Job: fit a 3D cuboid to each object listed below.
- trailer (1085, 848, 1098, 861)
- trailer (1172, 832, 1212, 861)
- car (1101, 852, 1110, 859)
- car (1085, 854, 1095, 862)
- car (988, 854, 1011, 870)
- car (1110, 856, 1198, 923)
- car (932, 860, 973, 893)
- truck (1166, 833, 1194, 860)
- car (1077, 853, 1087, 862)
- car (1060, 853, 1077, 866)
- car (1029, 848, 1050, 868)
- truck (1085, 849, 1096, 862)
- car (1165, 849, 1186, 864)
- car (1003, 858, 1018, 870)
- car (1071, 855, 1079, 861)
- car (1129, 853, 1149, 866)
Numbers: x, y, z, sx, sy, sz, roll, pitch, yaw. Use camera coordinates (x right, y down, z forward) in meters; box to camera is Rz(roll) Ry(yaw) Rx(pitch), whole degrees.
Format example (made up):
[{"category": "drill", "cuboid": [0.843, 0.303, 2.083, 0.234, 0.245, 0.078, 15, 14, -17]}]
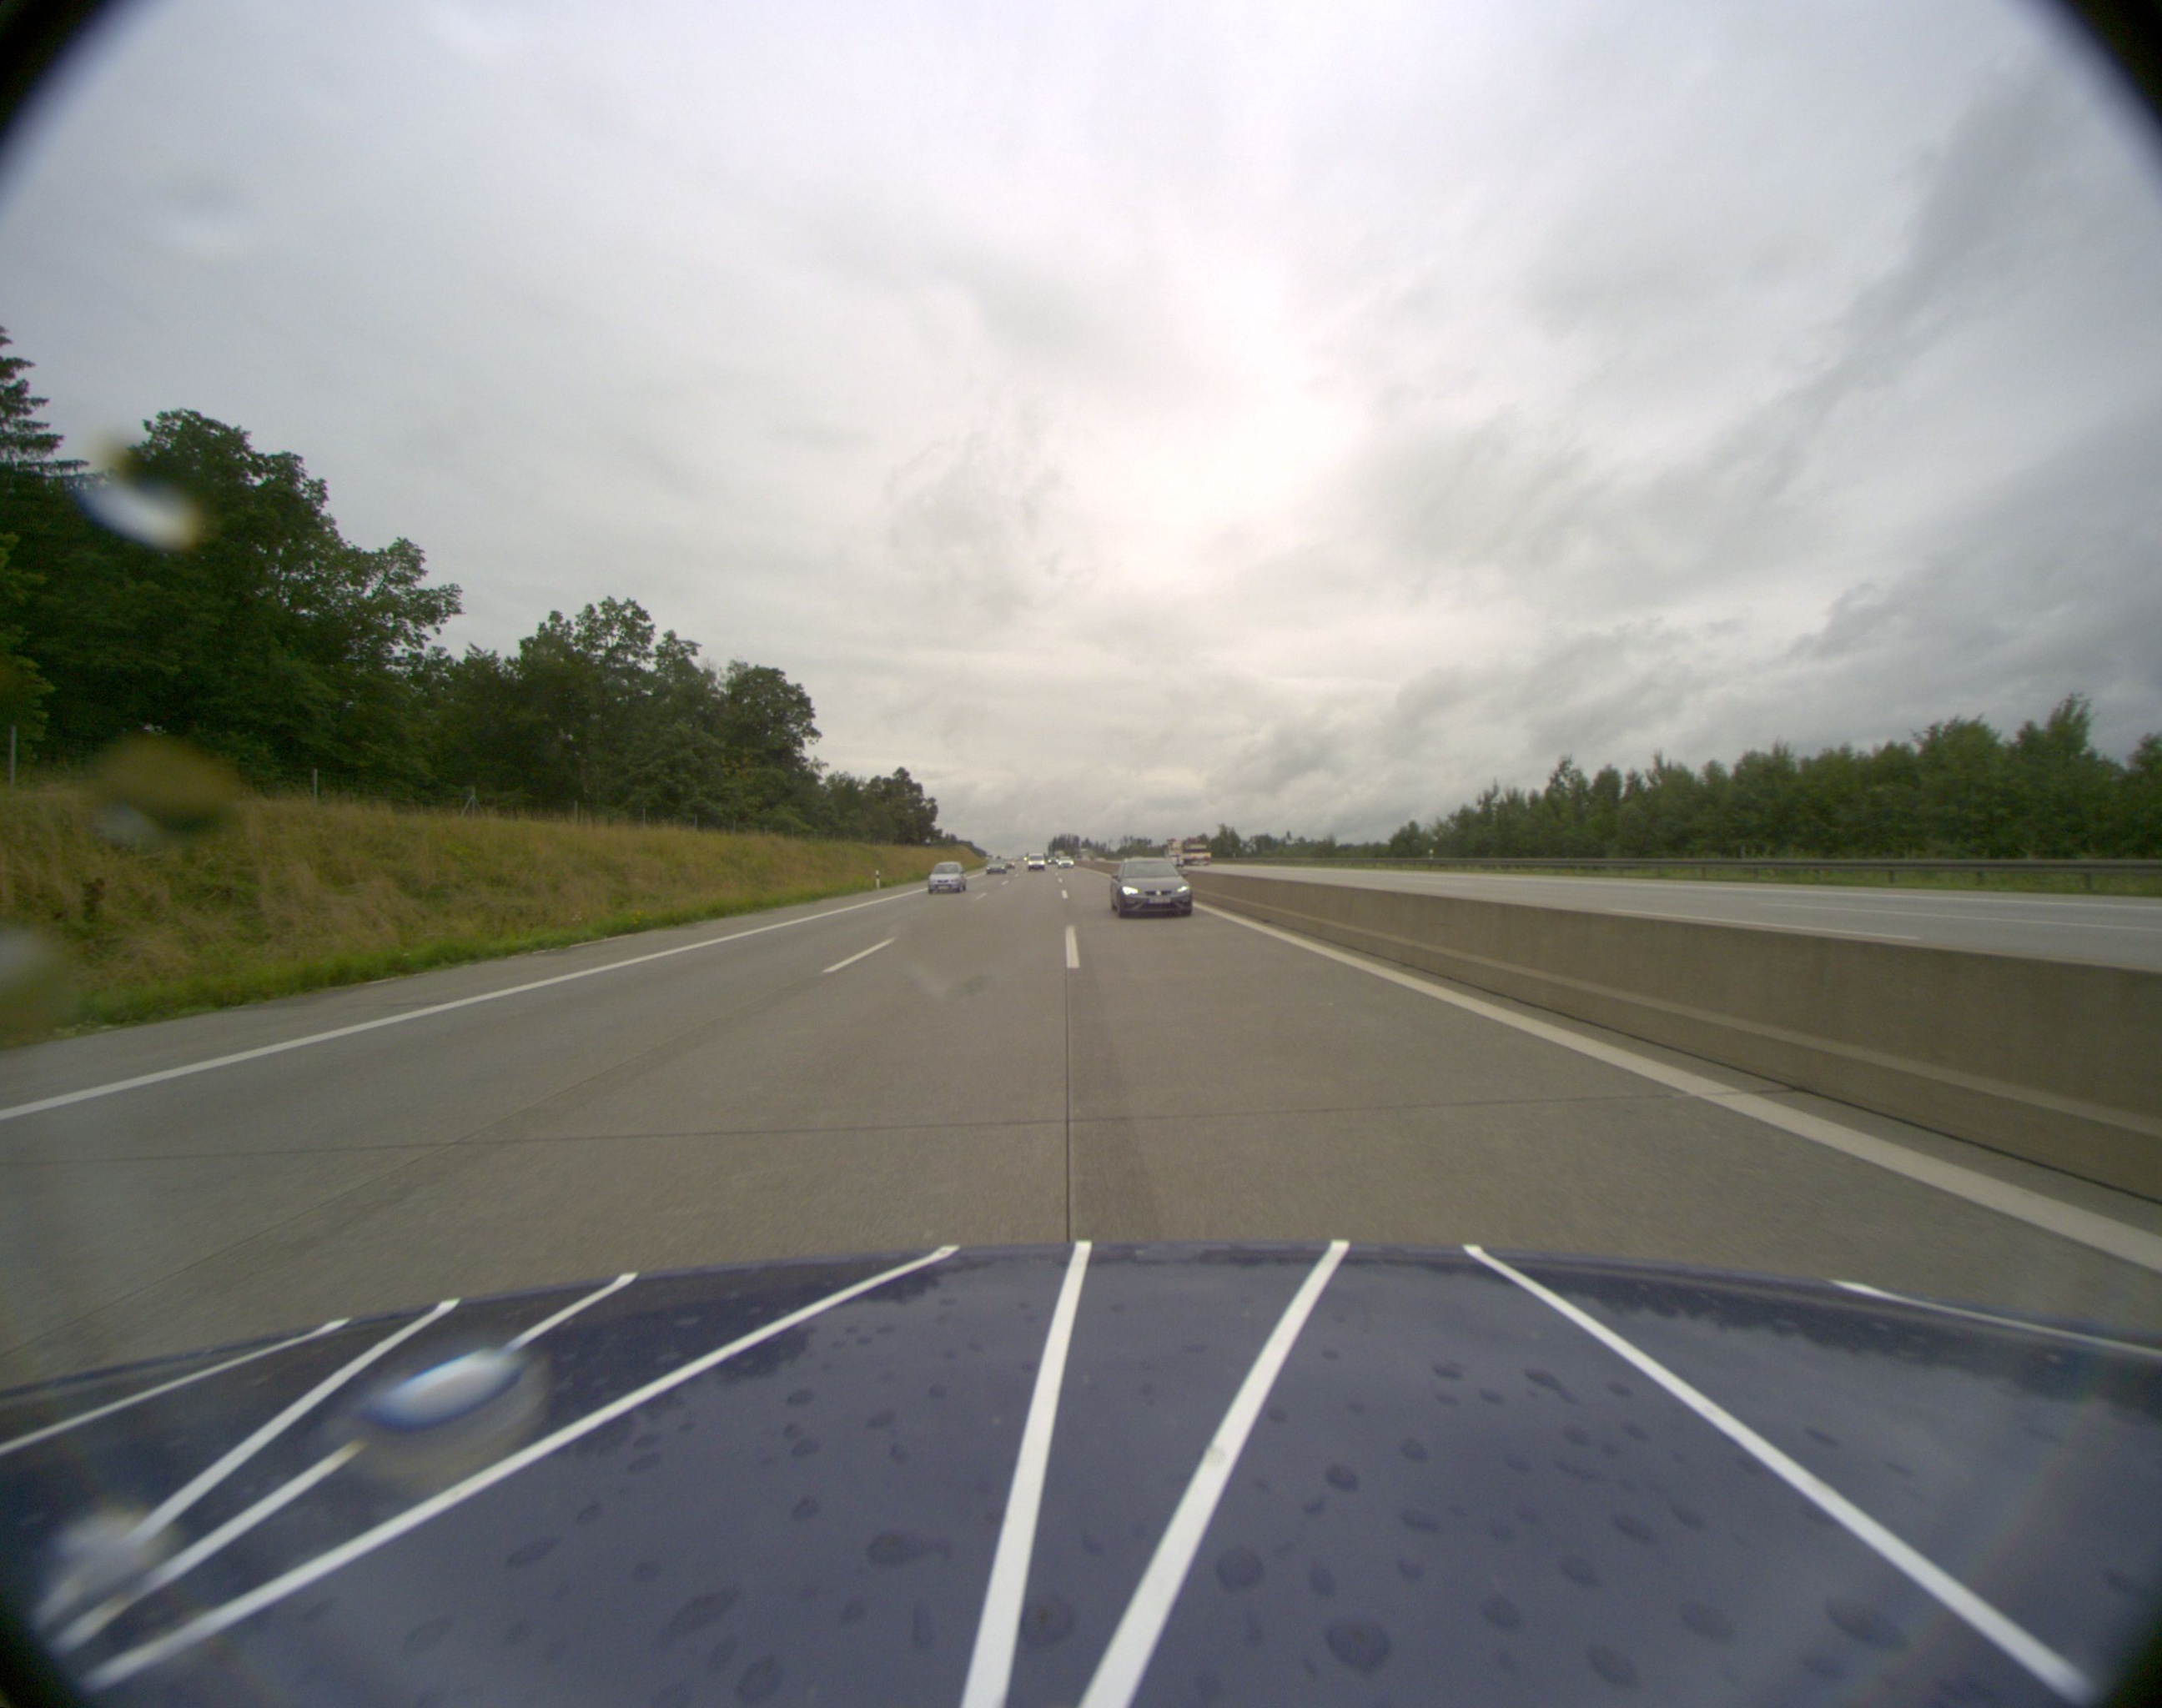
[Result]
[{"category": "trailer", "cuboid": [3.020, 0.236, 224.930, 2.757, 3.777, 9.311, -2, 0, -5]}, {"category": "trailer", "cuboid": [14.369, -1.010, 99.767, 2.594, 3.522, 13.718, -1, 1, -3]}, {"category": "car", "cuboid": [5.502, 0.358, 171.515, 1.741, 1.359, 4.097, -5, -1, -2]}, {"category": "car", "cuboid": [1.899, 0.868, 154.847, 1.719, 1.412, 4.213, -5, -1, -2]}, {"category": "car", "cuboid": [-8.195, 0.798, 76.754, 2.020, 1.437, 4.744, -3, -1, -2]}, {"category": "car", "cuboid": [1.755, 0.830, 19.738, 1.790, 1.472, 4.570, -1, 0, 0]}, {"category": "car", "cuboid": [-6.184, 1.055, 36.755, 1.490, 1.462, 3.504, -1, -1, -2]}, {"category": "truck", "cuboid": [13.960, -1.082, 107.516, 2.593, 3.631, 7.658, -1, 0, -3]}, {"category": "car", "cuboid": [0.271, 0.890, 174.062, 1.999, 2.001, 5.524, -1, -1, -3]}, {"category": "car", "cuboid": [-1.636, 0.751, 97.390, 1.999, 1.632, 5.042, 1, -1, -2]}, {"category": "car", "cuboid": [-4.610, 0.442, 85.447, 2.043, 2.111, 6.068, 1, -1, -1]}, {"category": "truck", "cuboid": [2.731, 0.331, 229.668, 2.758, 3.780, 5.527, -2, 1, -4]}, {"category": "car", "cuboid": [10.685, 0.299, 86.247, 1.767, 1.577, 4.756, -3, 0, -1]}, {"category": "car", "cuboid": [-9.839, 1.349, 105.588, 1.791, 1.595, 4.568, 1, -1, -8]}, {"category": "car", "cuboid": [-1.954, 1.180, 233.457, 1.999, 1.580, 4.769, -2, 0, -4]}, {"category": "car", "cuboid": [6.887, 0.643, 90.425, 1.767, 1.260, 4.490, 0, 2, -3]}]
